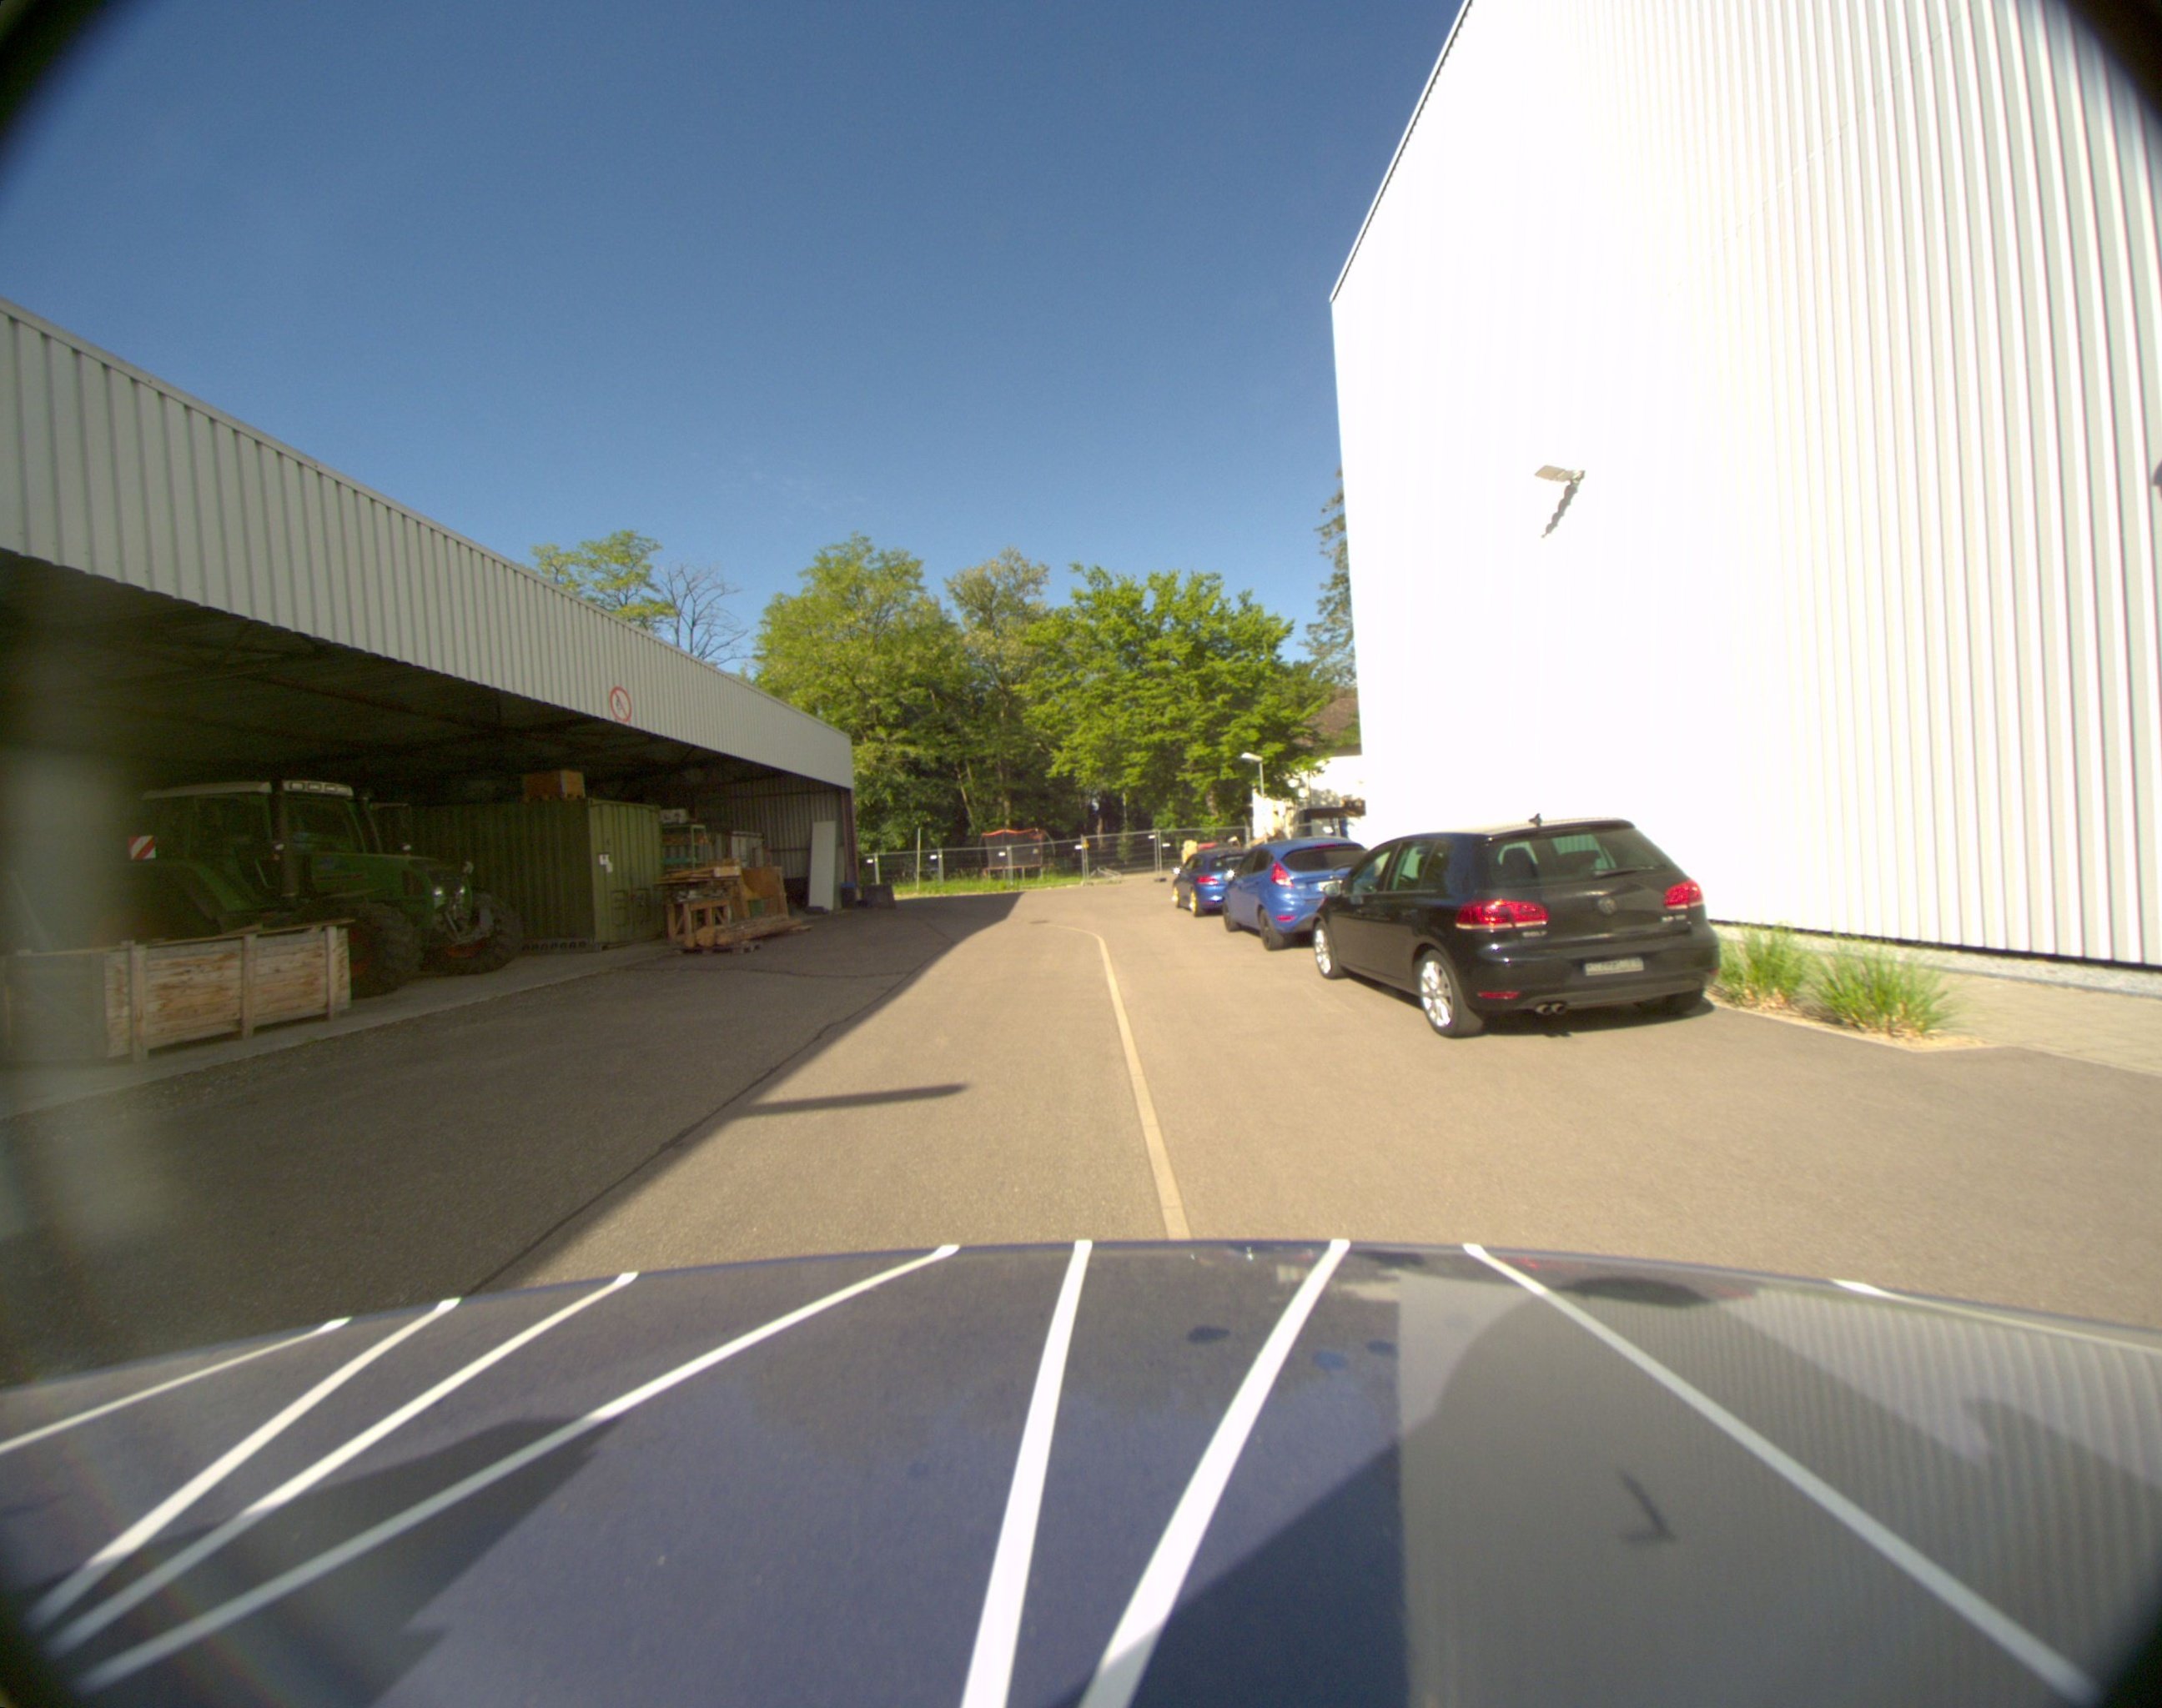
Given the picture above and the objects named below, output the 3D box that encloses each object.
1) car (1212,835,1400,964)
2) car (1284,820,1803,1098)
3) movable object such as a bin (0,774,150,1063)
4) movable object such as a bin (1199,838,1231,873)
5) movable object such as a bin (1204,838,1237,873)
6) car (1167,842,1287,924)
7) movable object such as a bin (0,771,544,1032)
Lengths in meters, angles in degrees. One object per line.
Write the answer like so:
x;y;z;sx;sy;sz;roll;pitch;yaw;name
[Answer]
3.133;0.579;11.312;1.552;1.480;3.522;-6;0;-2;car
3.271;0.615;6.581;1.761;1.437;4.314;-6;0;0;car
-12.823;0.746;7.294;4.537;2.814;2.497;-3;0;1;movable object such as a bin
5.981;0.067;33.930;1.141;1.469;1.280;-2;0;1;movable object such as a bin
5.963;0.072;32.567;1.141;1.426;1.289;-2;1;1;movable object such as a bin
3.081;0.576;16.822;1.716;1.440;3.797;-6;0;-2;car
-11.475;0.607;10.566;5.848;2.908;2.820;-3;1;1;movable object such as a bin
